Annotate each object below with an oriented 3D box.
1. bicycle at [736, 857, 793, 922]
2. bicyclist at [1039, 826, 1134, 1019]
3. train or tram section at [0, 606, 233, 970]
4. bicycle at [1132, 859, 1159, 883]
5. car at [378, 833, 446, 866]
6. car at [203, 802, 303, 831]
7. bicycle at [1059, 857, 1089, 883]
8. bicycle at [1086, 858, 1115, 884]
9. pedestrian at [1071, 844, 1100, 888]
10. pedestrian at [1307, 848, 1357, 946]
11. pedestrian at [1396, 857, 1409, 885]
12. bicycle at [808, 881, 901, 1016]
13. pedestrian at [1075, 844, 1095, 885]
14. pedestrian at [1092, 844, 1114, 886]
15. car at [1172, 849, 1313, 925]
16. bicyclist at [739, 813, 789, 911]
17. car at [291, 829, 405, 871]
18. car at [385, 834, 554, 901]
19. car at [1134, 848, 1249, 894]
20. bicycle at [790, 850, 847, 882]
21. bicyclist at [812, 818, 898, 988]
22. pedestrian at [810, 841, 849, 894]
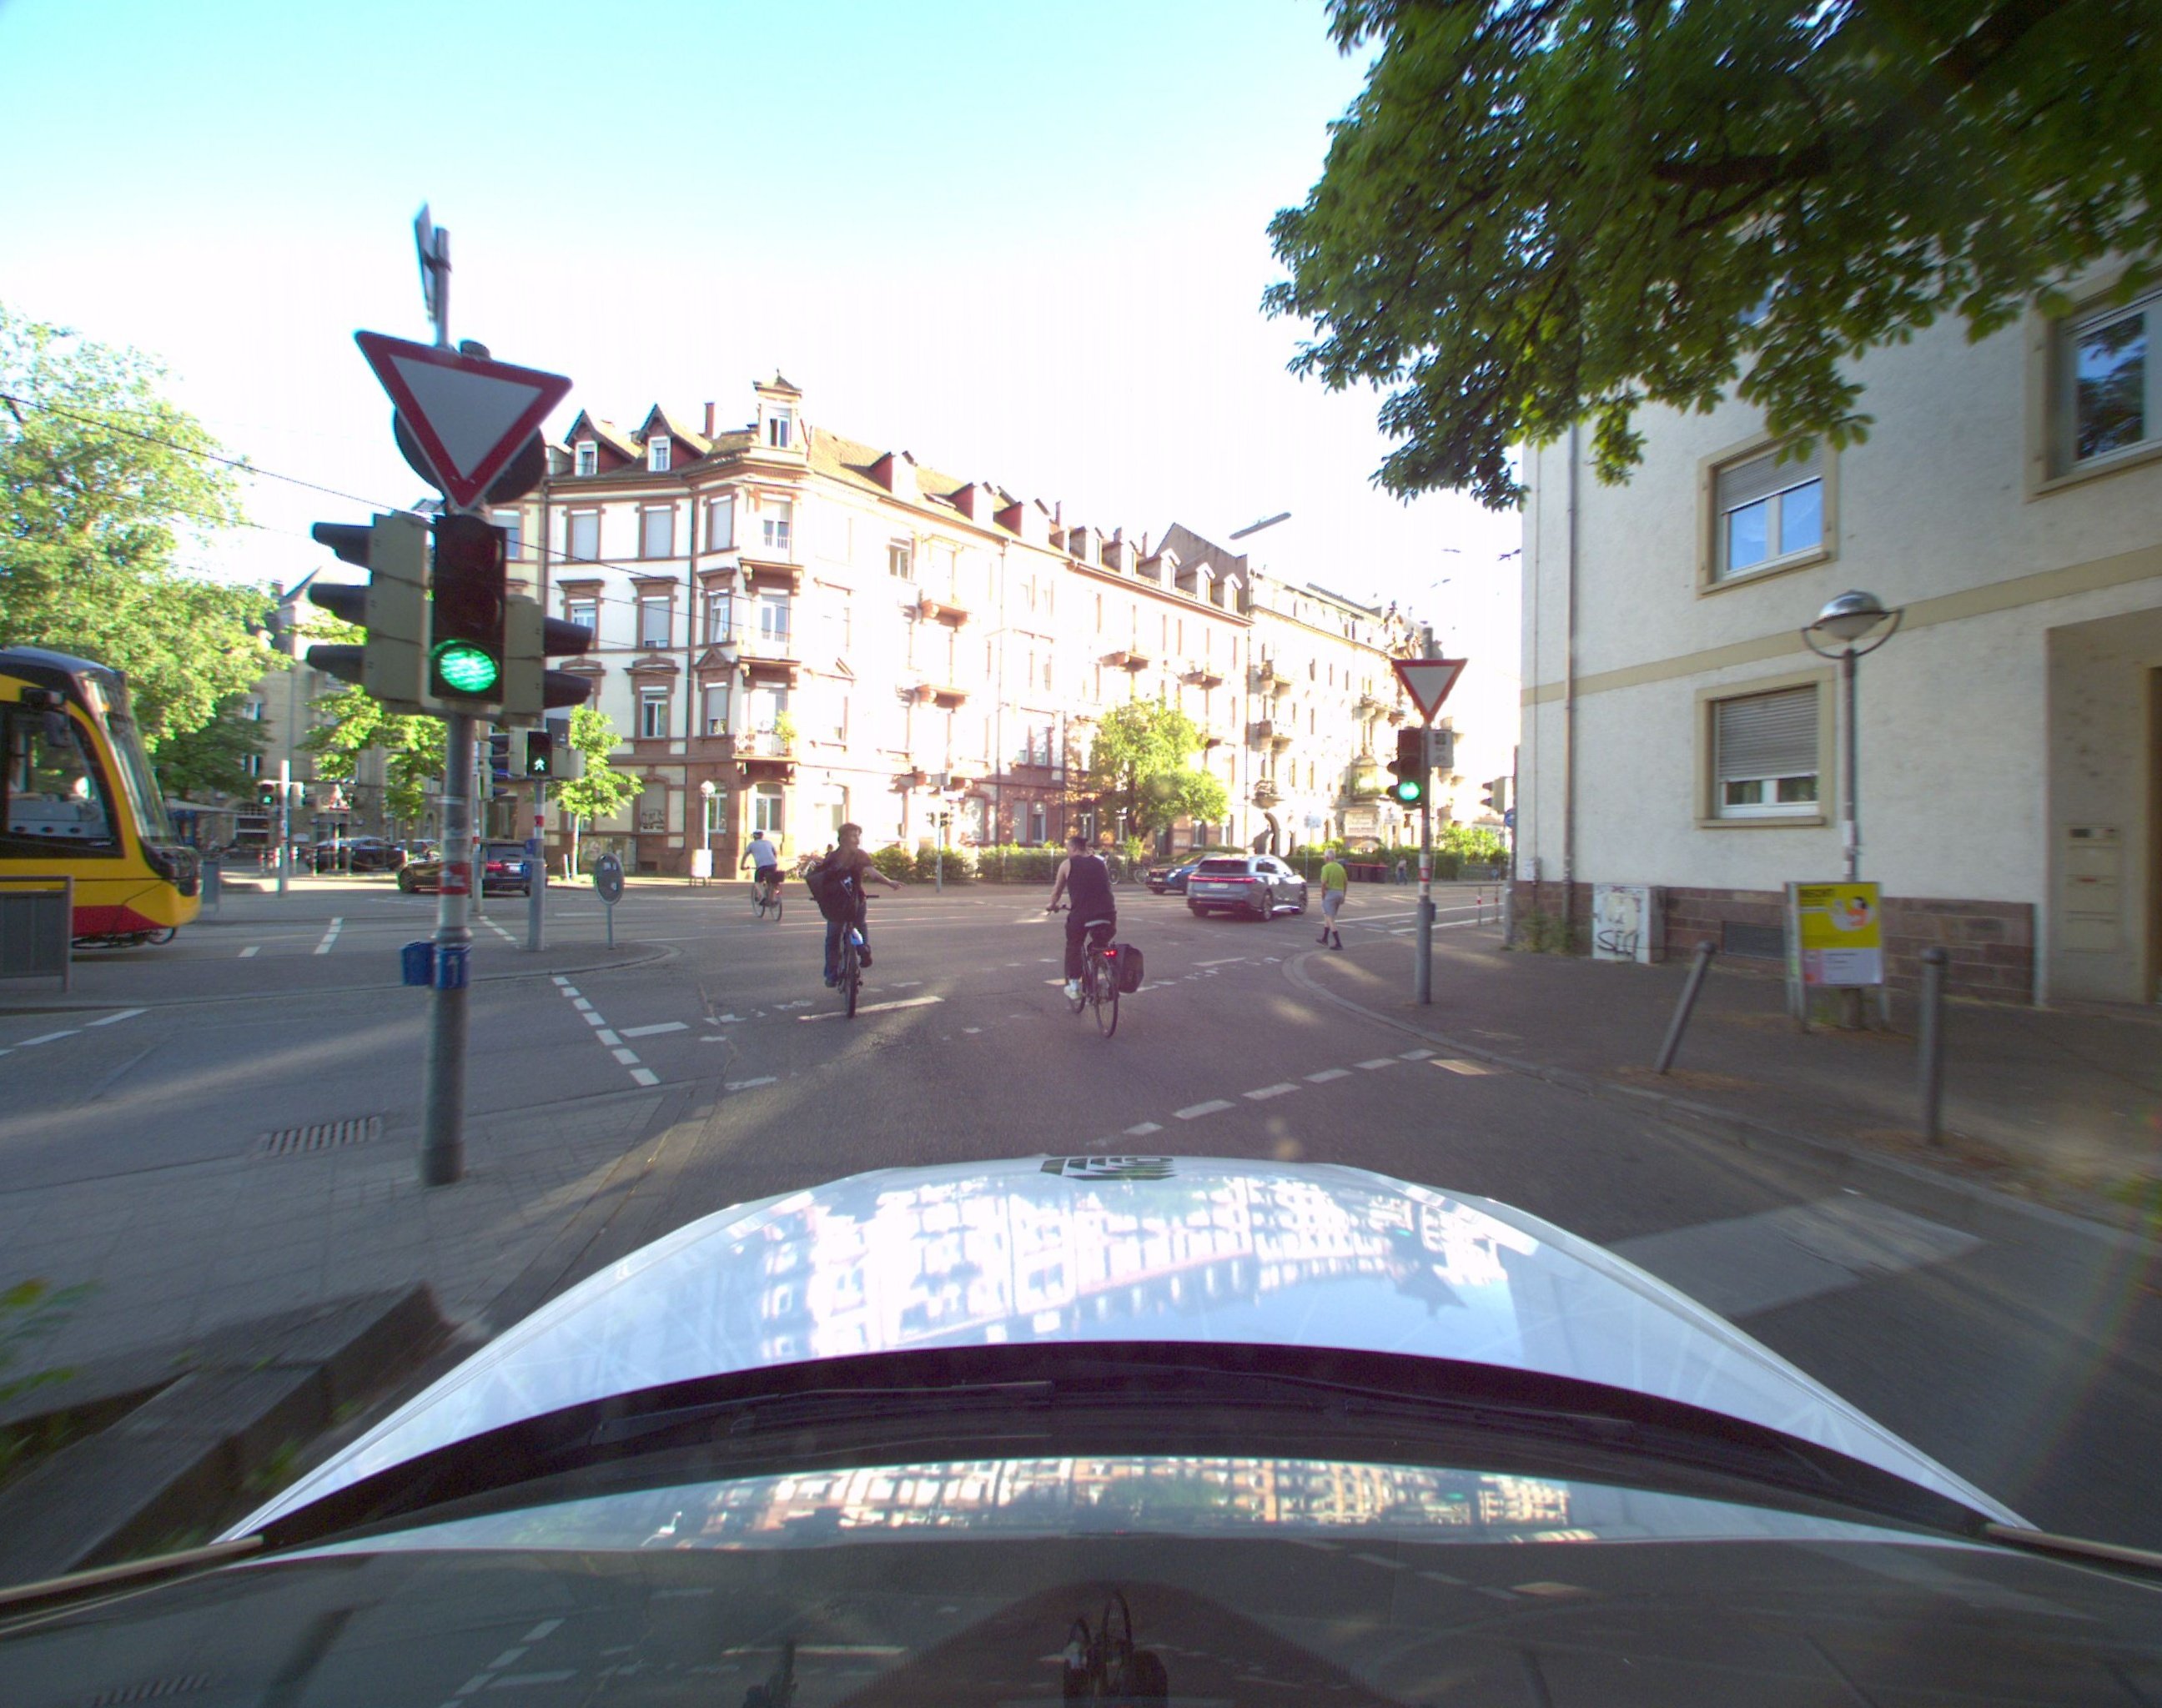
[{"bbox_3d":[-6.445,0.675,16.505,0.814,1.185,2.207,1,0,-28],"label":"bicycle"},{"bbox_3d":[0.030,0.594,7.550,0.687,1.656,0.985,0,-1,-12],"label":"bicyclist"},{"bbox_3d":[-15.072,-0.763,6.063,11.863,3.619,2.767,1,0,-42],"label":"train or tram section"},{"bbox_3d":[2.947,0.772,37.308,1.239,1.038,0.438,1,1,-37],"label":"bicycle"},{"bbox_3d":[-32.134,-0.228,39.210,1.505,1.457,3.186,2,0,-20],"label":"car"},{"bbox_3d":[-52.408,-2.345,51.633,3.998,1.647,1.867,2,0,-18],"label":"car"},{"bbox_3d":[-0.300,0.687,34.891,1.239,1.107,0.438,1,1,-36],"label":"bicycle"},{"bbox_3d":[0.873,0.747,35.709,1.239,1.107,0.438,1,1,-36],"label":"bicycle"},{"bbox_3d":[0.180,0.474,32.483,0.899,1.664,0.707,1,2,-24],"label":"pedestrian"},{"bbox_3d":[4.559,0.756,14.835,0.640,1.727,0.889,-1,0,4],"label":"pedestrian"},{"bbox_3d":[19.323,1.037,48.990,0.497,1.641,0.521,1,0,-30],"label":"pedestrian"},{"bbox_3d":[-2.322,0.867,8.190,0.719,1.107,1.953,1,0,-20],"label":"bicycle"},{"bbox_3d":[0.174,0.443,34.156,0.638,1.715,0.516,1,0,-28],"label":"pedestrian"},{"bbox_3d":[0.894,0.458,33.730,0.638,1.715,0.658,1,0,-28],"label":"pedestrian"},{"bbox_3d":[4.149,0.749,20.327,1.952,1.585,4.503,4,1,31],"label":"car"},{"bbox_3d":[-6.436,0.154,16.514,0.799,1.913,0.936,2,0,-29],"label":"bicyclist"},{"bbox_3d":[-30.778,-0.159,34.377,1.795,1.611,4.345,1,0,-16],"label":"car"},{"bbox_3d":[-16.276,0.306,21.698,3.815,1.541,1.805,2,2,20],"label":"car"},{"bbox_3d":[4.325,0.645,31.450,4.433,1.650,1.925,1,0,-41],"label":"car"},{"bbox_3d":[-10.029,0.454,31.168,1.959,1.107,0.442,3,0,-8],"label":"bicycle"},{"bbox_3d":[-2.265,0.453,8.103,0.709,1.573,0.950,2,0,-20],"label":"bicyclist"},{"bbox_3d":[-8.178,0.422,26.519,0.895,1.634,0.729,3,1,17],"label":"pedestrian"}]
